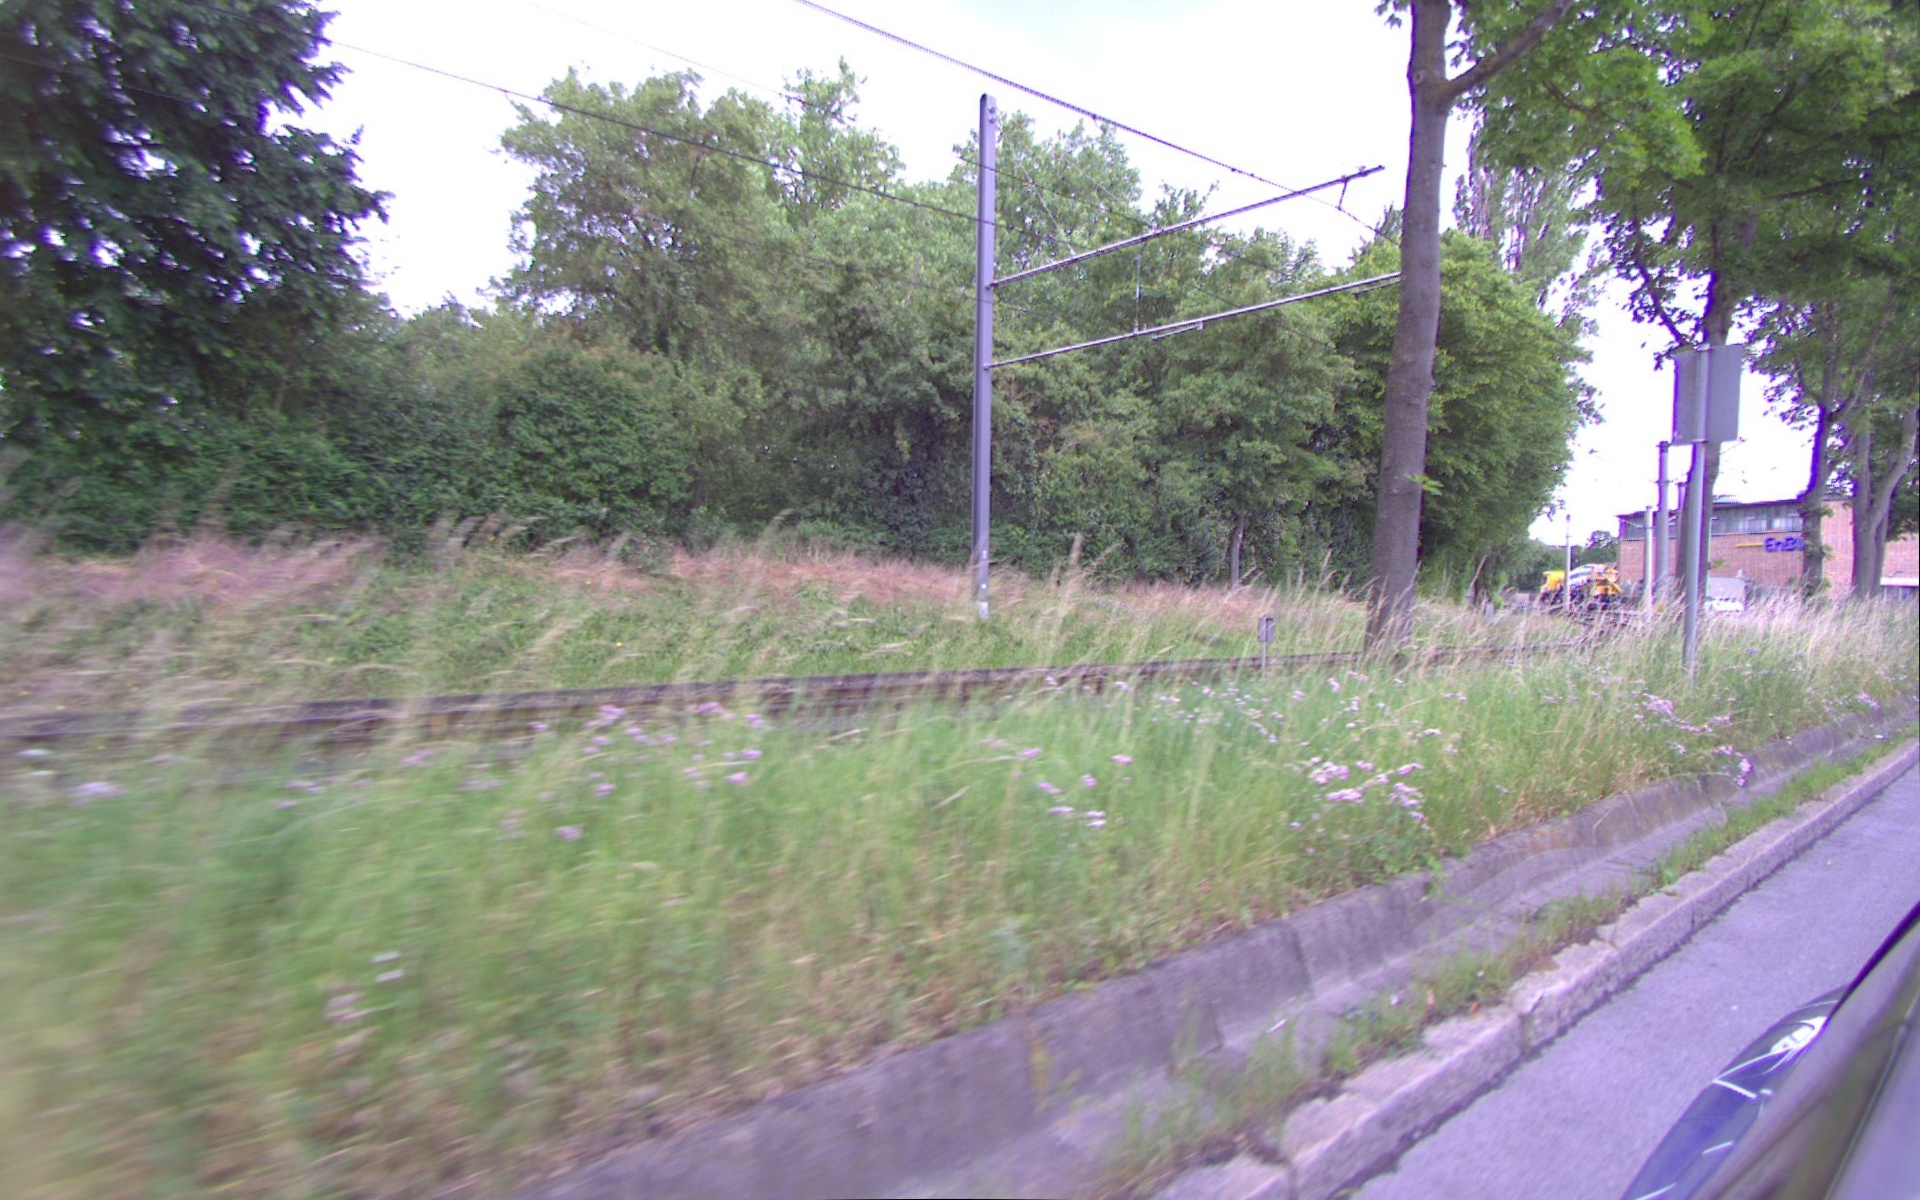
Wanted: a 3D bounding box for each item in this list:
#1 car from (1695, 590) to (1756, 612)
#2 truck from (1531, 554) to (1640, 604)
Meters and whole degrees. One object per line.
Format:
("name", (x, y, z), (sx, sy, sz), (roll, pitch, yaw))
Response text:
("car", (52.732, 0.078, 69.790), (1.723, 1.506, 3.646), (-1, 0, 8))
("truck", (53.426, -1.711, 86.878), (2.625, 3.988, 10.142), (-1, 0, -3))
